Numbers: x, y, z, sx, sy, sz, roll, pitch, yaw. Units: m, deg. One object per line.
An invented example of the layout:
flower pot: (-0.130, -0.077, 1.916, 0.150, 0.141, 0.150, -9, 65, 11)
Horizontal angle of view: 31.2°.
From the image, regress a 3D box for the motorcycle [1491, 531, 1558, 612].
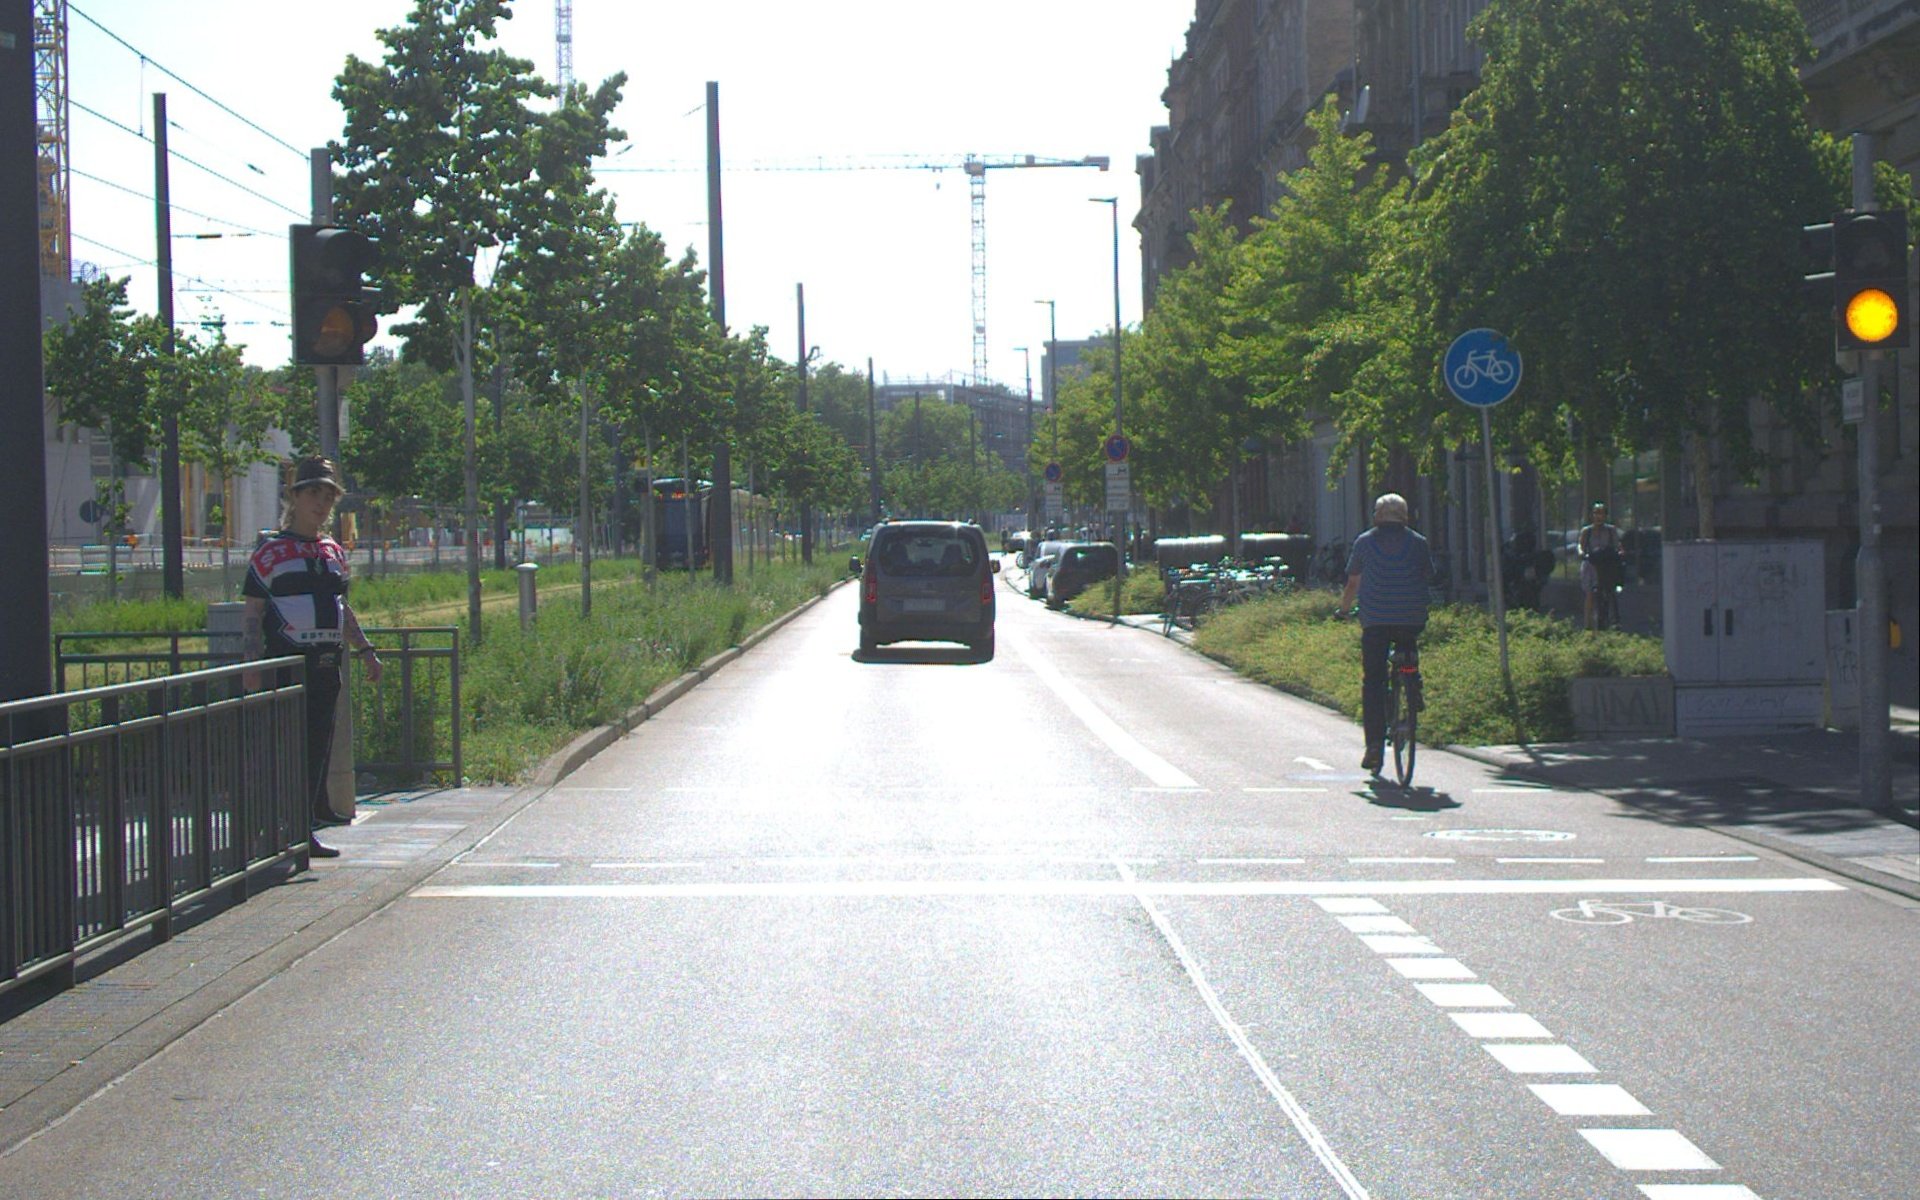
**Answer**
motorcycle: (9.091, -0.475, 55.383, 0.700, 1.263, 1.982, -1, 1, -1)

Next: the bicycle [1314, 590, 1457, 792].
bicycle: (2.655, 0.545, 21.612, 0.601, 1.177, 1.869, 1, 1, -1)

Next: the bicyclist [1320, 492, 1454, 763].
bicyclist: (2.688, 0.162, 21.705, 0.684, 1.667, 0.922, 1, 1, -1)

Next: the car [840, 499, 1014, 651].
car: (-0.467, -0.367, 46.755, 2.200, 1.919, 4.654, -1, 1, -1)

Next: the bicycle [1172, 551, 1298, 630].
bicycle: (4.174, -0.148, 52.267, 1.792, 1.027, 0.527, -5, 1, -1)

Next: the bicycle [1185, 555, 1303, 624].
bicycle: (4.445, -0.165, 53.867, 1.792, 1.027, 0.527, -1, 1, -1)

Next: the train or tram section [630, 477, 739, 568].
train or tram section: (-8.737, -2.412, 109.852, 2.756, 2.733, 9.864, 0, 0, 0)

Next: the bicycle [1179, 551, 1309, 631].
bicycle: (4.200, -0.136, 50.893, 1.792, 1.027, 0.527, -5, 1, -1)

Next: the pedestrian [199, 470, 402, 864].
pedestrian: (-3.067, 0.293, 16.071, 0.865, 1.782, 0.971, 0, 1, -7)

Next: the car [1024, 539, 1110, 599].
car: (2.798, -0.846, 91.061, 2.028, 1.493, 4.530, -1, 1, -1)

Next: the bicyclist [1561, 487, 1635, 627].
bicyclist: (7.577, -0.519, 40.849, 0.666, 1.633, 0.960, -1, 1, -1)

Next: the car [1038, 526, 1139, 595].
car: (2.896, -0.914, 78.627, 2.028, 1.493, 4.654, -1, 1, -1)

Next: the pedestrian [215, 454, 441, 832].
pedestrian: (-3.267, 0.209, 17.842, 1.075, 1.902, 0.653, -1, 1, -7)

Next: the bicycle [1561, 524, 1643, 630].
bicycle: (7.622, -0.286, 40.872, 0.583, 1.218, 1.900, -1, 1, -1)

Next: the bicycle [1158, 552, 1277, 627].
bicycle: (4.137, -0.173, 55.257, 1.792, 1.027, 0.527, -5, 1, -1)

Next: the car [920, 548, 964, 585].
car: (-0.847, -1.554, 160.051, 1.993, 1.723, 4.000, 0, 0, -1)

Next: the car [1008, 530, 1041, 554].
car: (4.256, -3.836, 226.943, 2.028, 1.493, 4.331, -1, 1, -1)
